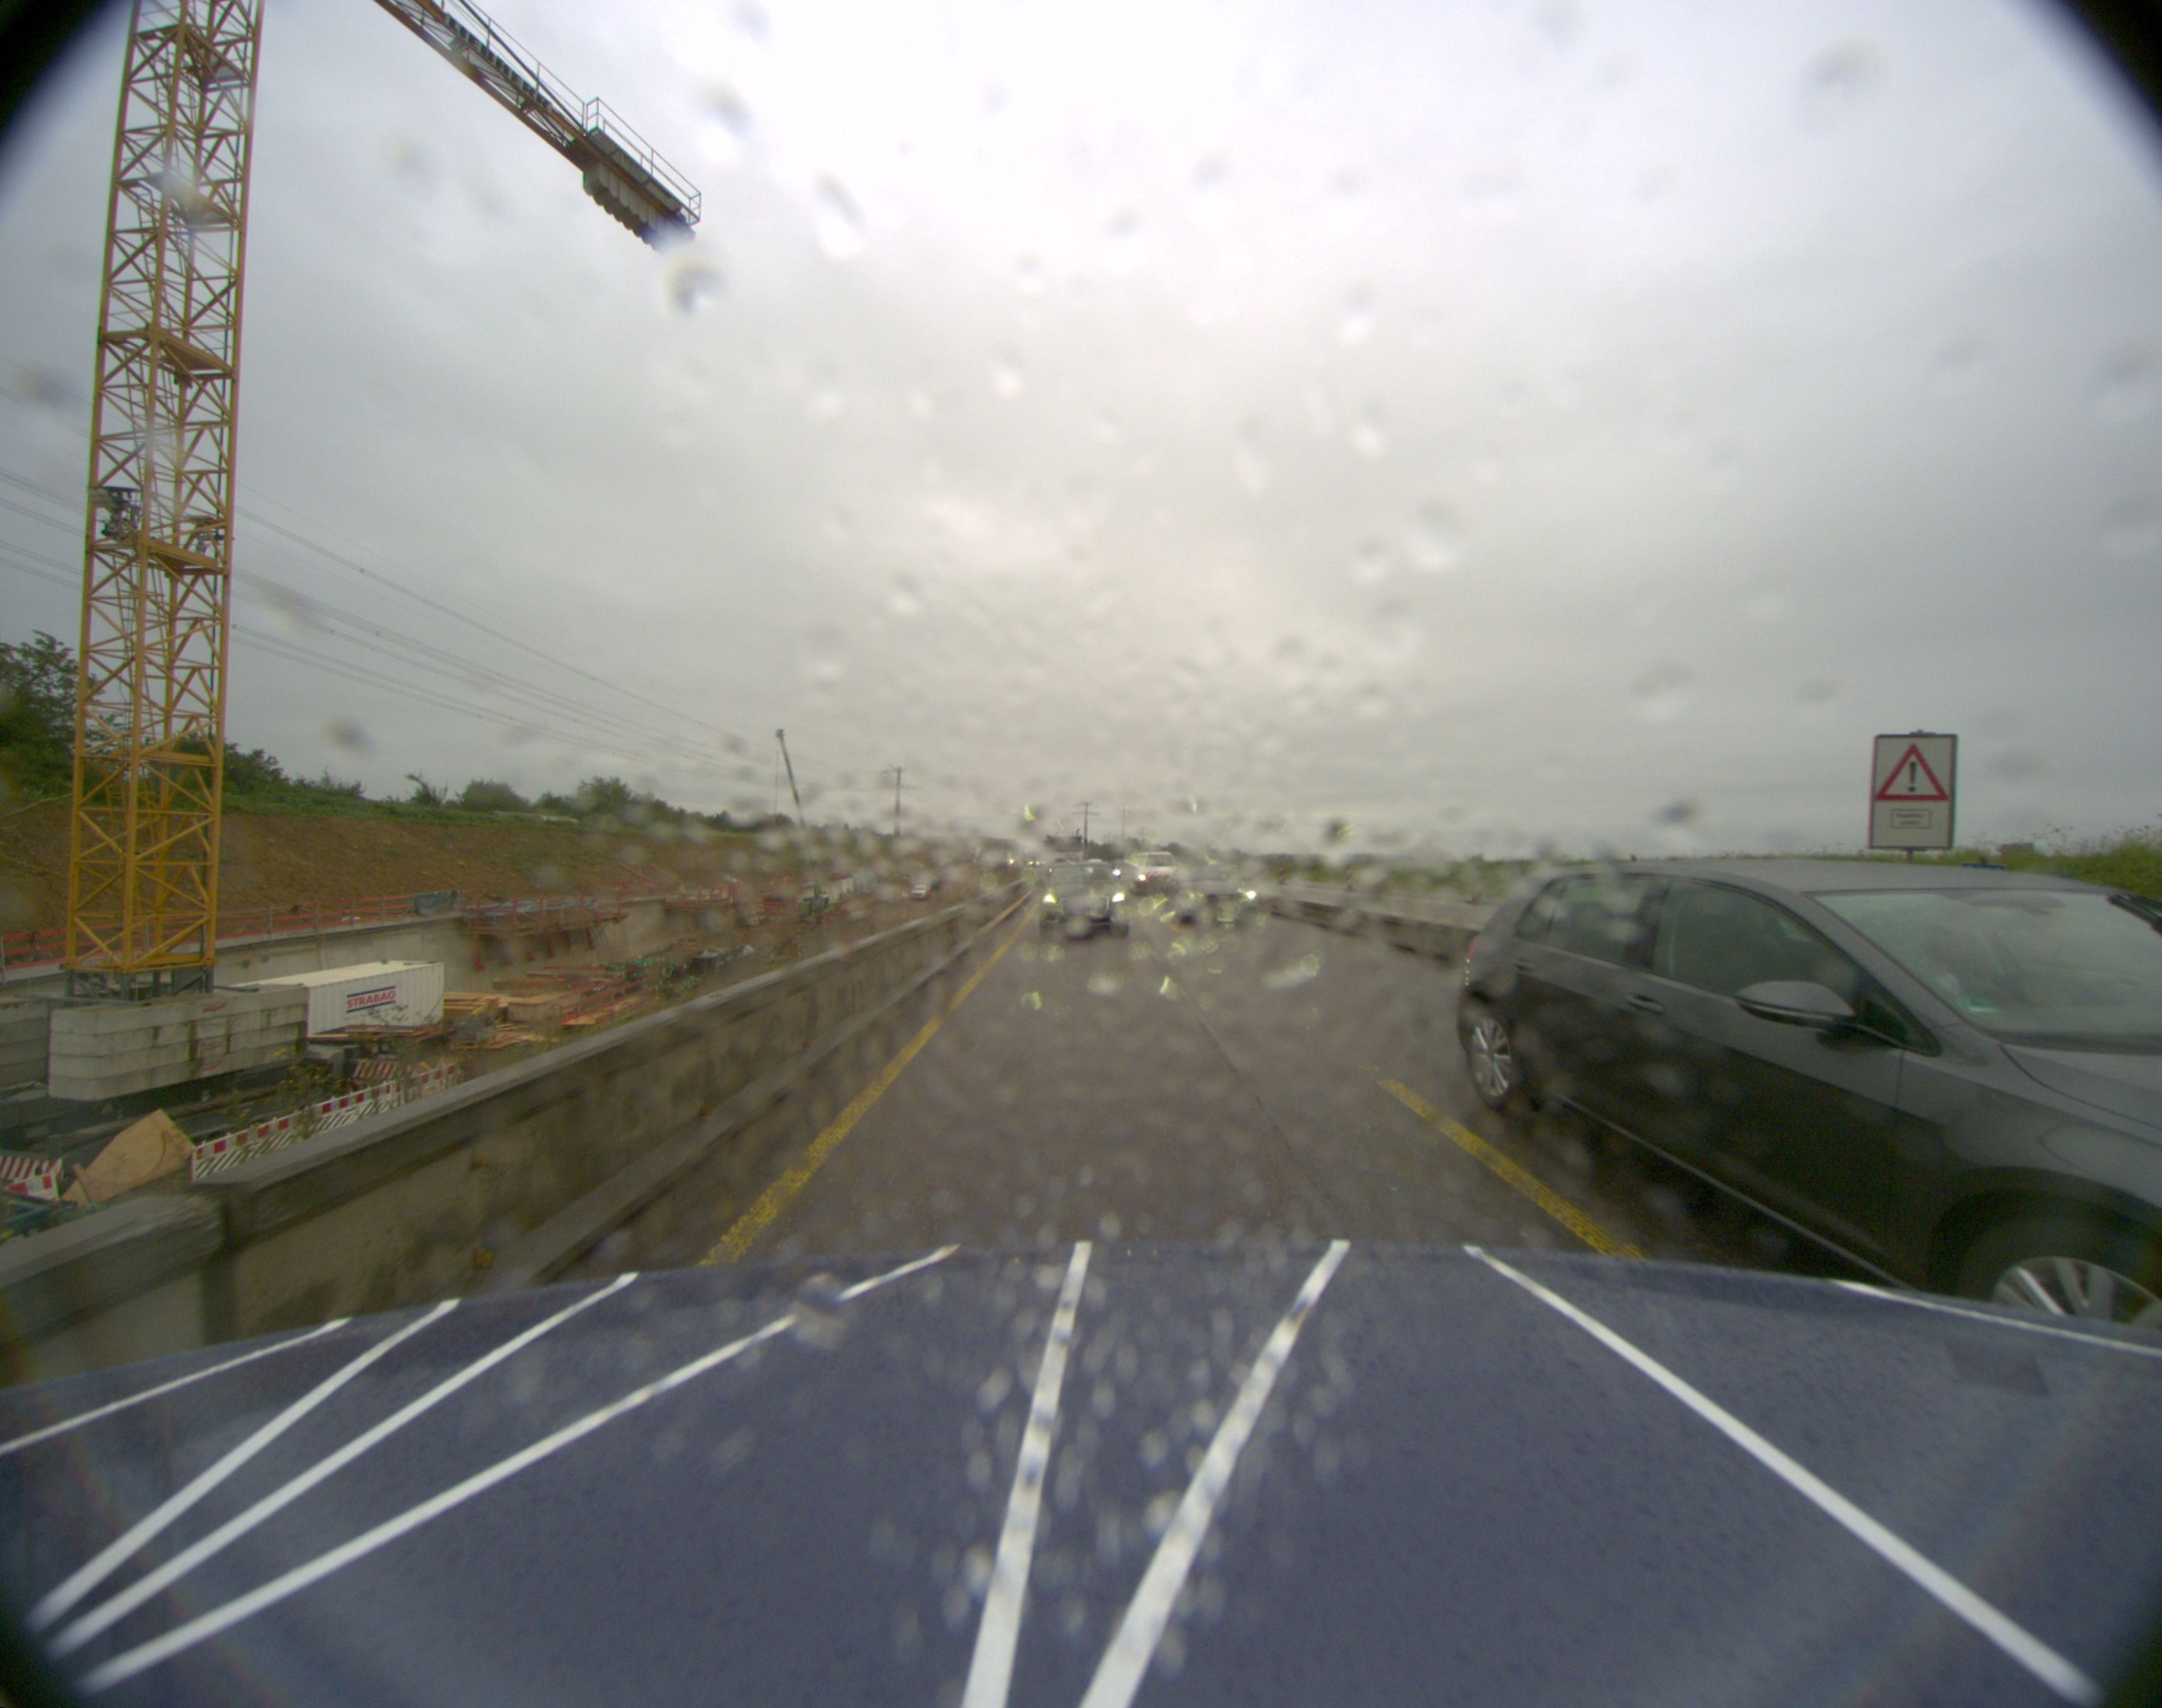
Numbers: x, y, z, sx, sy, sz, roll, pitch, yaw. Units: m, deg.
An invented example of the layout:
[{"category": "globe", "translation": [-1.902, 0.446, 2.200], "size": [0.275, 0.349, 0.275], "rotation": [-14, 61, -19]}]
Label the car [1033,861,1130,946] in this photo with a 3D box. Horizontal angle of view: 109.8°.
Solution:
[{"category": "car", "translation": [0.054, 0.966, 16.643], "size": [1.799, 1.524, 4.308], "rotation": [-2, 0, 1]}]

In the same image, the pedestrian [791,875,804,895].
[{"category": "pedestrian", "translation": [-33.033, 3.624, 88.468], "size": [0.917, 2.219, 1.005], "rotation": [-6, 2, 0]}]

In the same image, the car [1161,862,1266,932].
[{"category": "car", "translation": [3.137, 0.963, 18.822], "size": [1.800, 1.389, 4.268], "rotation": [-2, 1, 0]}]

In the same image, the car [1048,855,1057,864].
[{"category": "car", "translation": [-6.153, 1.162, 166.836], "size": [1.800, 1.850, 4.286], "rotation": [-2, 1, -1]}]

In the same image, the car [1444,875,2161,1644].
[{"category": "car", "translation": [3.039, 0.876, 2.640], "size": [1.653, 1.414, 4.080], "rotation": [-1, 1, 1]}]

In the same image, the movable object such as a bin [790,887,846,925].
[{"category": "movable object such as a bin", "translation": [-25.108, 4.934, 72.807], "size": [3.803, 2.790, 4.848], "rotation": [-1, 5, -4]}]

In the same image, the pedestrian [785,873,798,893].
[{"category": "pedestrian", "translation": [-34.277, 3.395, 89.977], "size": [0.918, 2.233, 1.005], "rotation": [-6, 2, -7]}]

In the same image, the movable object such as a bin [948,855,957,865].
[{"category": "movable object such as a bin", "translation": [-37.763, 1.769, 222.899], "size": [2.253, 2.703, 3.997], "rotation": [-2, 1, -7]}]

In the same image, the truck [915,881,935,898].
[{"category": "truck", "translation": [-20.220, 4.560, 98.539], "size": [1.767, 1.860, 5.784], "rotation": [0, 1, -3]}]

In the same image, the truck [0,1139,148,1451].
[{"category": "truck", "translation": [-16.353, 6.250, 7.282], "size": [2.703, 3.483, 8.955], "rotation": [-2, 1, 13]}]

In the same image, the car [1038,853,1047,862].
[{"category": "car", "translation": [-8.150, 0.748, 162.208], "size": [1.800, 1.850, 4.285], "rotation": [-2, 1, -2]}]

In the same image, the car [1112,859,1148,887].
[{"category": "car", "translation": [2.917, 1.139, 46.307], "size": [1.800, 1.521, 4.066], "rotation": [-2, 1, -1]}]

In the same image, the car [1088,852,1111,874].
[{"category": "car", "translation": [1.610, 0.810, 68.803], "size": [1.800, 1.850, 4.285], "rotation": [-2, 1, -2]}]

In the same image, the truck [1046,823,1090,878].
[{"category": "truck", "translation": [-0.973, -0.277, 55.435], "size": [2.837, 3.617, 9.118], "rotation": [-2, 1, -1]}]

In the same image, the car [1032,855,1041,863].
[{"category": "car", "translation": [-10.811, 1.130, 185.364], "size": [1.800, 1.850, 4.286], "rotation": [-2, 1, -1]}]

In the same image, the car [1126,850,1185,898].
[{"category": "car", "translation": [3.184, 0.816, 33.532], "size": [2.160, 1.848, 5.179], "rotation": [-2, 1, 1]}]
